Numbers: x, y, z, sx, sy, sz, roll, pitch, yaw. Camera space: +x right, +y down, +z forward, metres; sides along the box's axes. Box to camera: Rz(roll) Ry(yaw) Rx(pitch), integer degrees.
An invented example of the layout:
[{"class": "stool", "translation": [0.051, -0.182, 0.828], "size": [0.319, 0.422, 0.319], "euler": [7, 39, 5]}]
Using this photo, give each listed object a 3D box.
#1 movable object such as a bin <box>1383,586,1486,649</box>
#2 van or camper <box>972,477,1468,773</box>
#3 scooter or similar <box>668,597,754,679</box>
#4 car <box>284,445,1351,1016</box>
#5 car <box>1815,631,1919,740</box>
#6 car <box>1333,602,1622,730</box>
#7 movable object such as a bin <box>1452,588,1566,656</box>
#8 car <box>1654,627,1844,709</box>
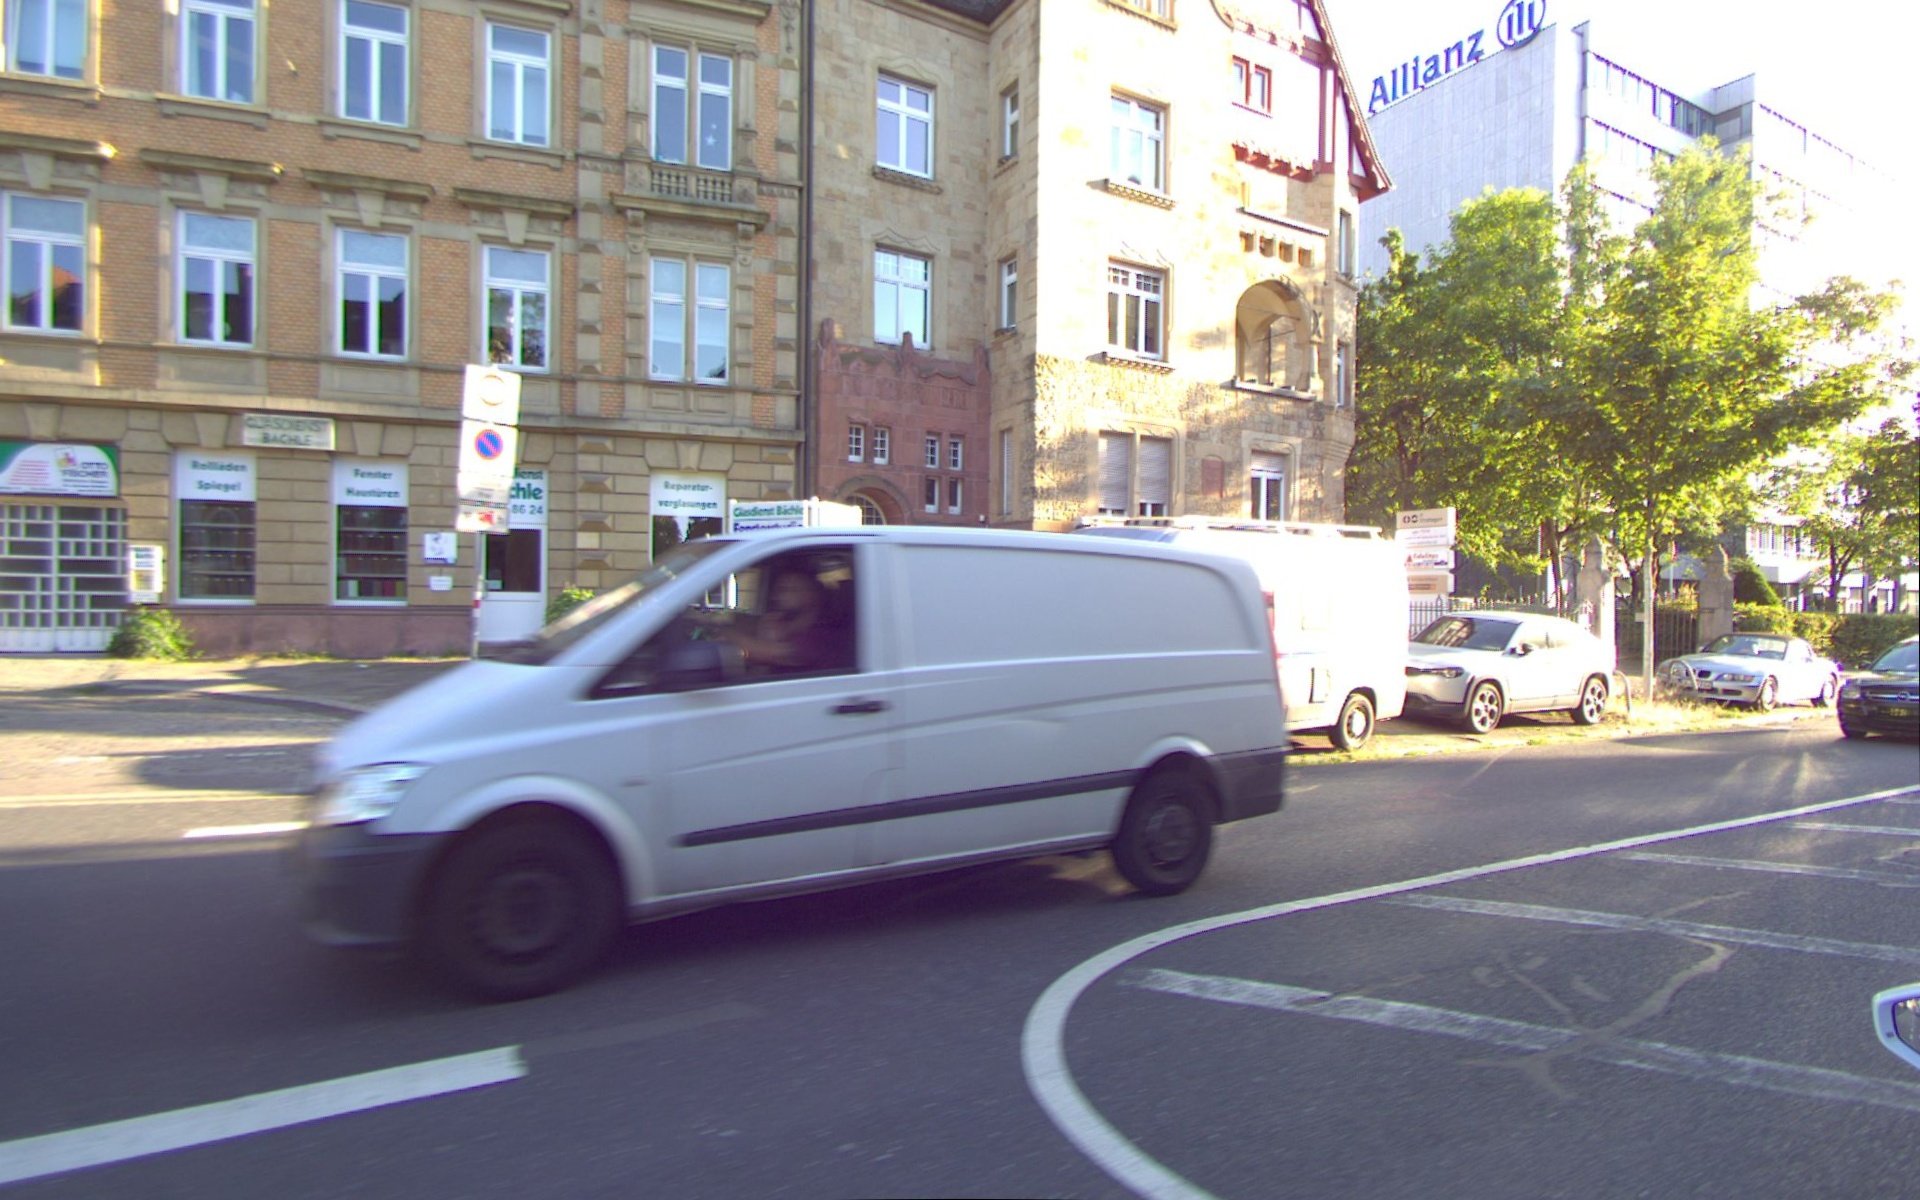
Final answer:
[{"class": "movable object such as a bin", "translation": [12.344, 0.447, 26.183], "size": [1.313, 1.397, 1.930], "euler": [2, 5, -31]}, {"class": "van or camper", "translation": [3.213, 0.214, 11.635], "size": [5.977, 2.705, 1.980], "euler": [1, 4, -35]}, {"class": "scooter or similar", "translation": [-3.332, 0.508, 13.458], "size": [1.095, 1.071, 0.288], "euler": [0, -1, 13]}, {"class": "car", "translation": [-0.439, 0.491, 5.406], "size": [5.107, 1.856, 1.985], "euler": [1, -1, -30]}, {"class": "car", "translation": [14.172, 1.161, 14.304], "size": [4.254, 1.405, 1.751], "euler": [1, -1, -30]}, {"class": "car", "translation": [7.574, 0.882, 14.602], "size": [4.254, 1.555, 1.737], "euler": [1, 2, -31]}, {"class": "movable object such as a bin", "translation": [13.351, 0.518, 24.493], "size": [1.313, 1.397, 1.930], "euler": [2, 5, -31]}, {"class": "car", "translation": [14.364, 1.186, 18.262], "size": [3.573, 1.265, 1.528], "euler": [1, 2, -31]}]
